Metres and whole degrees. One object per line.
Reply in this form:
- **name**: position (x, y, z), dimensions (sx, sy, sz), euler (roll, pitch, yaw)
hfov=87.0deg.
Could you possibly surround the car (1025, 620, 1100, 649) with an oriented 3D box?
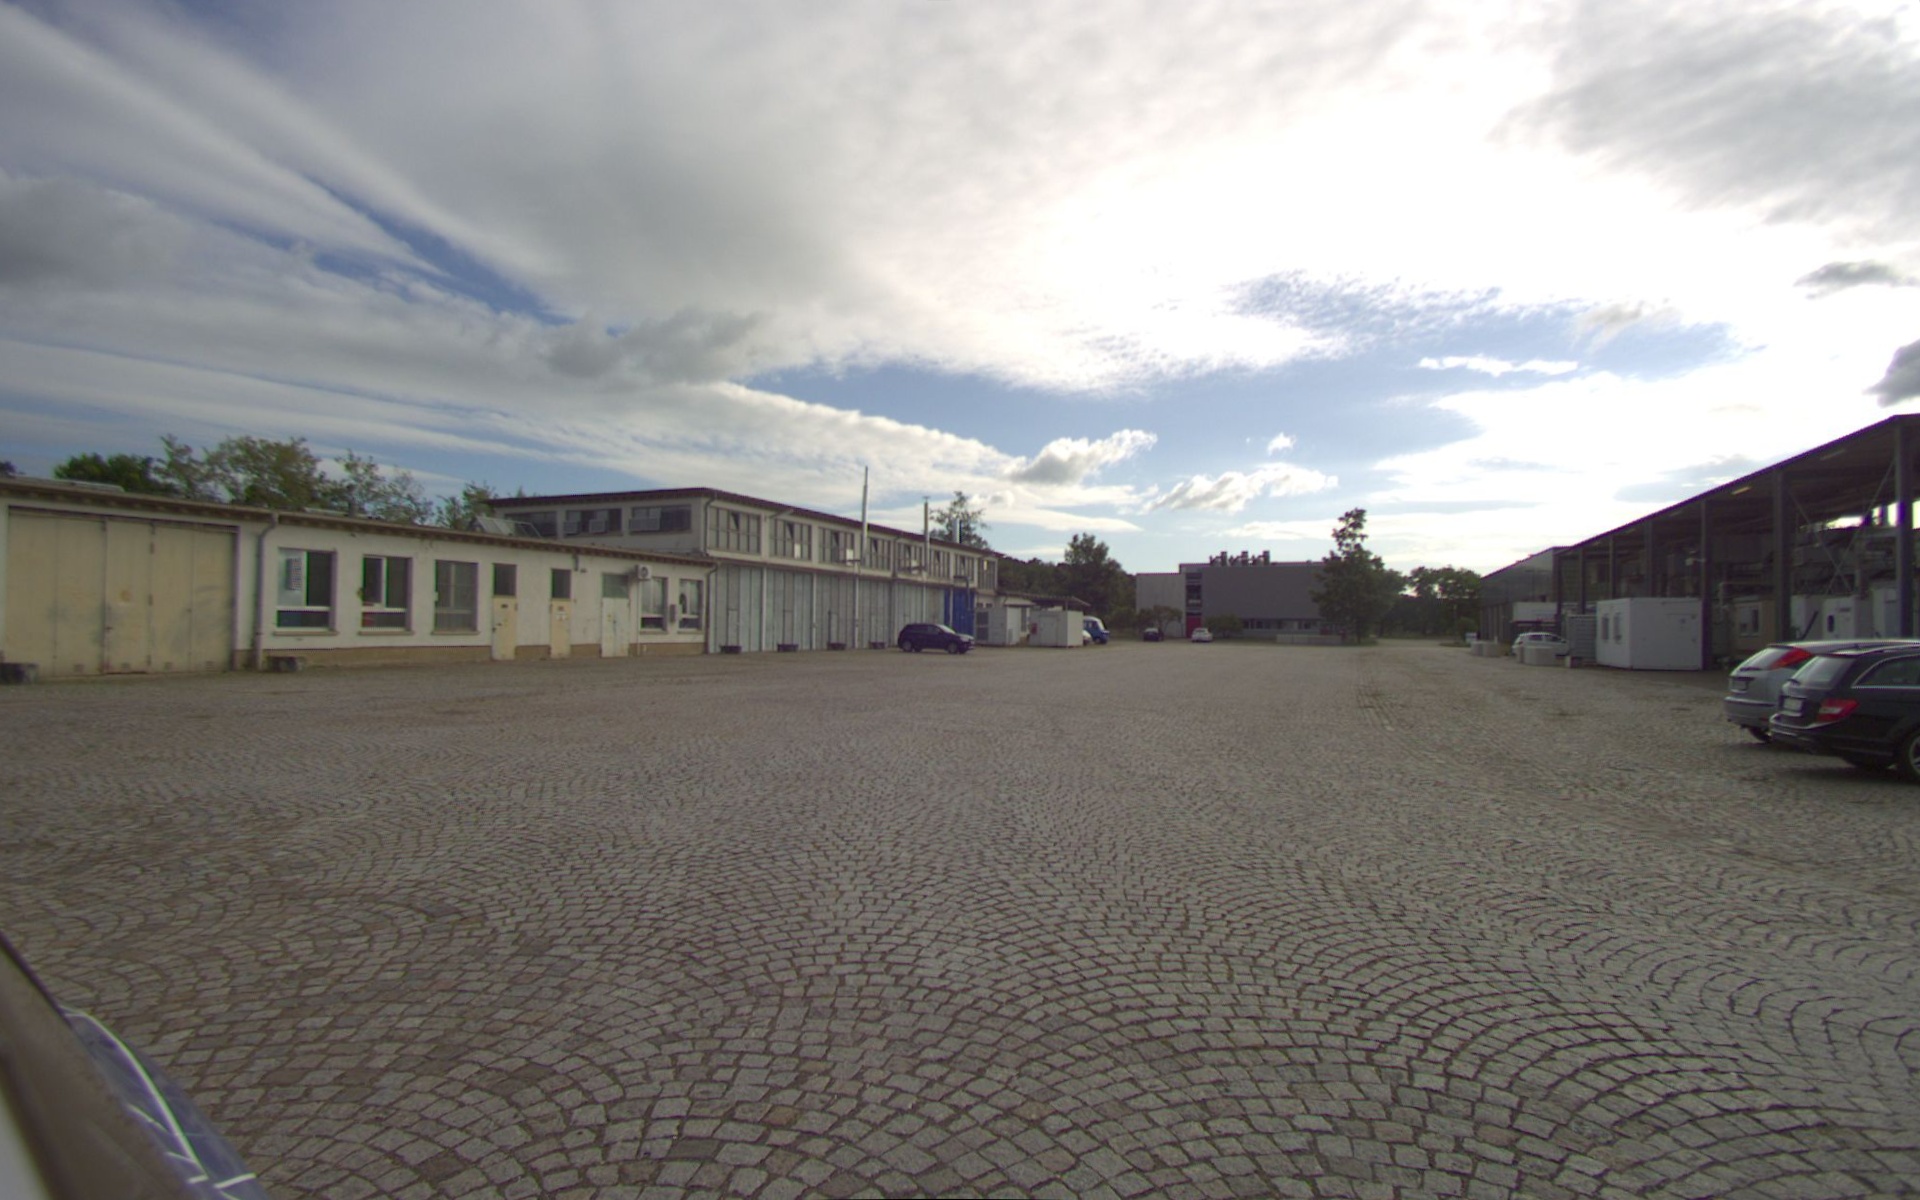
- **car**: position (8.244, 2.750, 81.197), dimensions (5.591, 2.236, 2.435), euler (0, -2, 22)

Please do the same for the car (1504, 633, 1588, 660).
- **car**: position (34.821, 2.744, 60.256), dimensions (3.971, 1.503, 1.986), euler (0, -2, 21)

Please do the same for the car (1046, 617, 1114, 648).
- **car**: position (10.581, 2.849, 89.486), dimensions (5.591, 2.635, 2.435), euler (0, -2, 22)

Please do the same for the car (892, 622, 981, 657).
- **car**: position (-1.269, 2.174, 55.318), dimensions (4.405, 1.770, 1.985), euler (0, -5, 22)

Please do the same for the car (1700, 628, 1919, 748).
- **car**: position (12.563, 1.124, 13.385), dimensions (4.016, 1.487, 1.900), euler (-2, -2, 20)

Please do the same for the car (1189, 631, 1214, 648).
- **car**: position (25.866, 4.239, 108.430), dimensions (2.139, 1.824, 3.972), euler (0, -2, 21)

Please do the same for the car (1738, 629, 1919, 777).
- **car**: position (11.241, 1.018, 10.539), dimensions (4.499, 1.464, 2.028), euler (-2, -3, 22)

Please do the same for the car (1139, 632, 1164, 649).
- **car**: position (20.843, 4.376, 109.998), dimensions (1.986, 1.824, 3.972), euler (0, -2, 21)
